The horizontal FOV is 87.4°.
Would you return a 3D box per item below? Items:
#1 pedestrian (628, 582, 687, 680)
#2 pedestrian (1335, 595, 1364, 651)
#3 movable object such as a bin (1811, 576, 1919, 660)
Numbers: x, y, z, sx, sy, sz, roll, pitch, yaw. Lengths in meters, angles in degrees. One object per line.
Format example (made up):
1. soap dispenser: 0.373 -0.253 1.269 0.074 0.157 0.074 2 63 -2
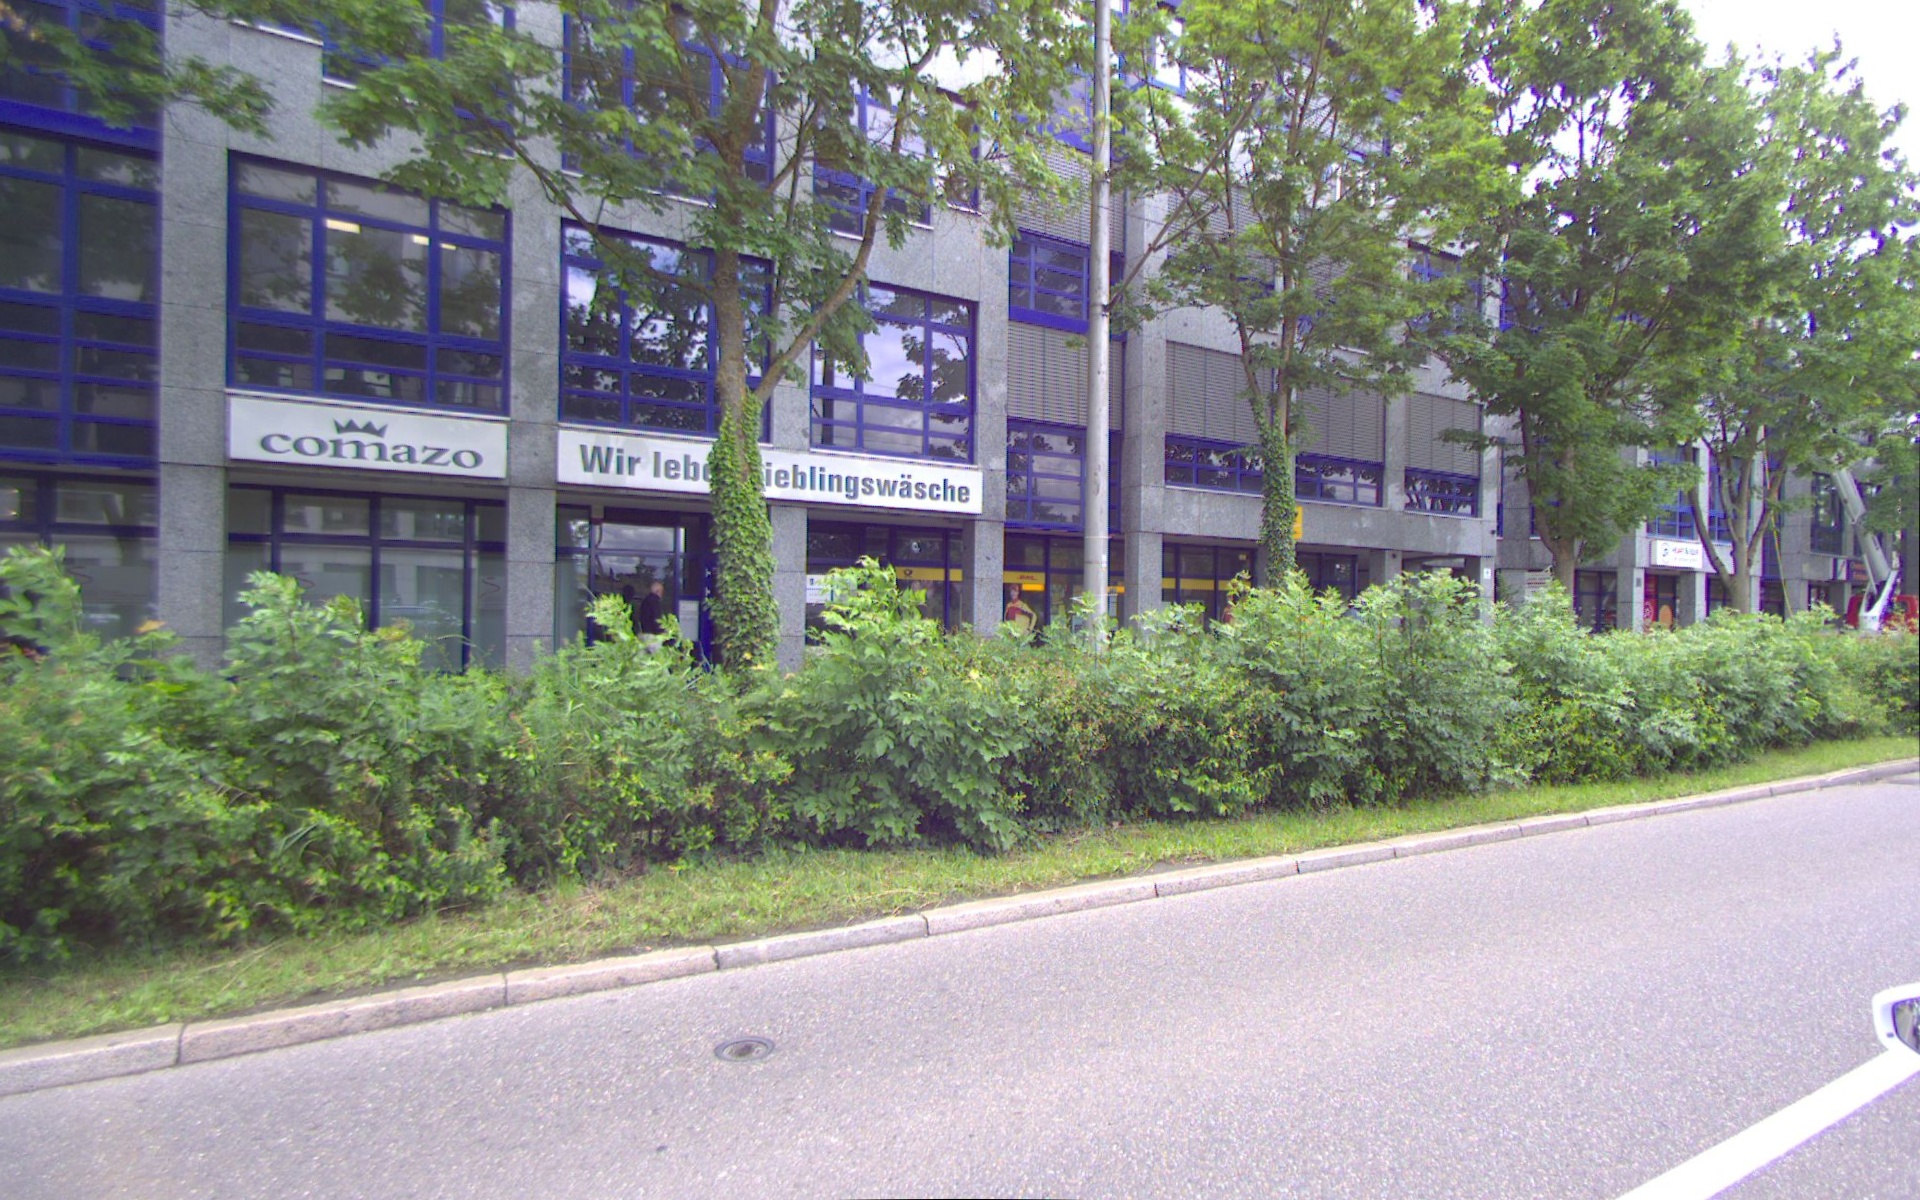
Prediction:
1. pedestrian: -4.801 0.482 15.922 0.673 1.502 0.691 1 1 -39
2. pedestrian: 9.594 0.553 24.741 0.552 1.352 0.362 0 3 -35
3. movable object such as a bin: 29.582 0.563 32.470 4.079 2.565 1.895 1 1 -31
